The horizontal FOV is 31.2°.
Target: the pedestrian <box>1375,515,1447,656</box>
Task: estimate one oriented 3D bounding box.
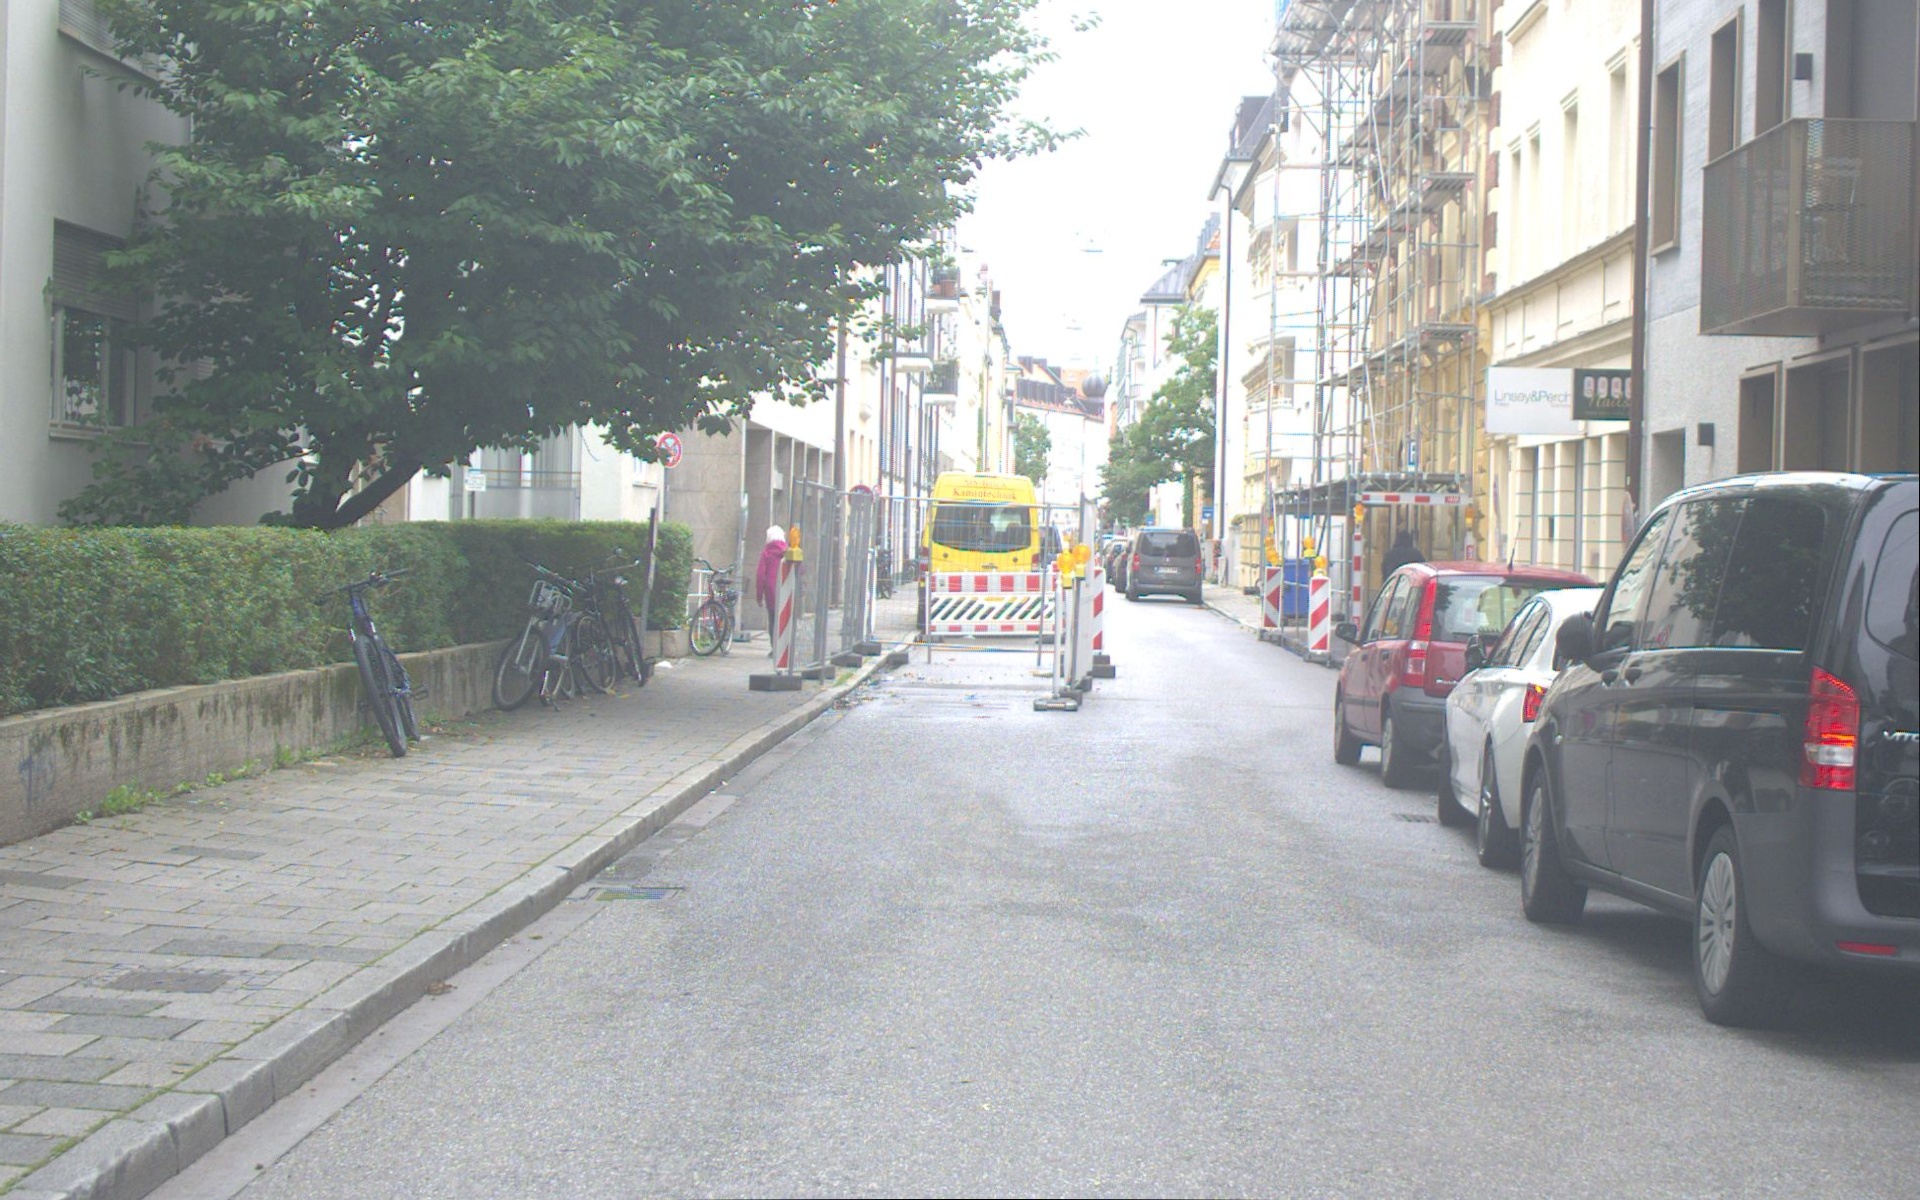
[{"bbox_3d":[5.742,-0.196,43.838,0.729,1.746,0.988,-3,1,1],"label":"pedestrian"}]

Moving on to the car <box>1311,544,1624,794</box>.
[{"bbox_3d":[3.497,0.415,24.333,1.772,1.519,4.066,3,1,3],"label":"car"}]

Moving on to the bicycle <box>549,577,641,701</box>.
[{"bbox_3d":[-3.040,0.312,28.740,0.436,0.975,1.698,4,0,3],"label":"bicycle"}]

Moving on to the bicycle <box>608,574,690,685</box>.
[{"bbox_3d":[-2.901,0.265,32.164,0.443,0.975,1.816,4,0,3],"label":"bicycle"}]

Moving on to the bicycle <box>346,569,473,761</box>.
[{"bbox_3d":[-3.318,0.367,20.822,0.347,1.068,1.780,5,1,2],"label":"bicycle"}]

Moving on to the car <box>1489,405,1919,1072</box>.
[{"bbox_3d":[3.413,0.401,12.700,1.990,1.970,4.885,3,1,-1],"label":"car"}]

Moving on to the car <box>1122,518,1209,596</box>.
[{"bbox_3d":[5.362,-1.155,90.323,1.993,1.925,4.660,2,1,1],"label":"car"}]

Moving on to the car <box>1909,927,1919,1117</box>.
[{"bbox_3d":[3.430,0.760,7.723,1.634,1.466,3.538,3,1,2],"label":"car"}]

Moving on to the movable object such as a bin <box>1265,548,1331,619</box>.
[{"bbox_3d":[6.678,-0.340,67.882,1.087,1.341,1.317,-2,1,14],"label":"movable object such as a bin"}]

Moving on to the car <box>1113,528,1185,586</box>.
[{"bbox_3d":[5.483,-1.274,100.333,1.894,1.635,4.322,1,1,1],"label":"car"}]

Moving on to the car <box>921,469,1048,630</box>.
[{"bbox_3d":[0.439,-0.877,58.432,1.993,2.570,6.737,1,1,1],"label":"car"}]

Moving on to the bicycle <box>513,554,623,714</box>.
[{"bbox_3d":[-2.984,0.251,26.270,0.488,1.147,1.698,4,0,3],"label":"bicycle"}]

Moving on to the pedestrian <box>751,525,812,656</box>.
[{"bbox_3d":[-2.104,-0.115,40.522,0.638,1.526,0.747,0,1,4],"label":"pedestrian"}]

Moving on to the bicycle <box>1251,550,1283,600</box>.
[{"bbox_3d":[7.442,-0.615,83.379,0.638,1.149,1.915,-2,2,2],"label":"bicycle"}]

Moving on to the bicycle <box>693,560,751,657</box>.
[{"bbox_3d":[-2.769,0.087,40.104,0.377,1.059,1.597,7,1,2],"label":"bicycle"}]

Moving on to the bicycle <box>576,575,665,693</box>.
[{"bbox_3d":[-2.977,0.289,30.300,0.443,0.975,1.853,4,0,3],"label":"bicycle"}]

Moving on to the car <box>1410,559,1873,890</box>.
[{"bbox_3d":[3.536,0.567,18.598,1.768,1.456,4.380,3,1,3],"label":"car"}]
